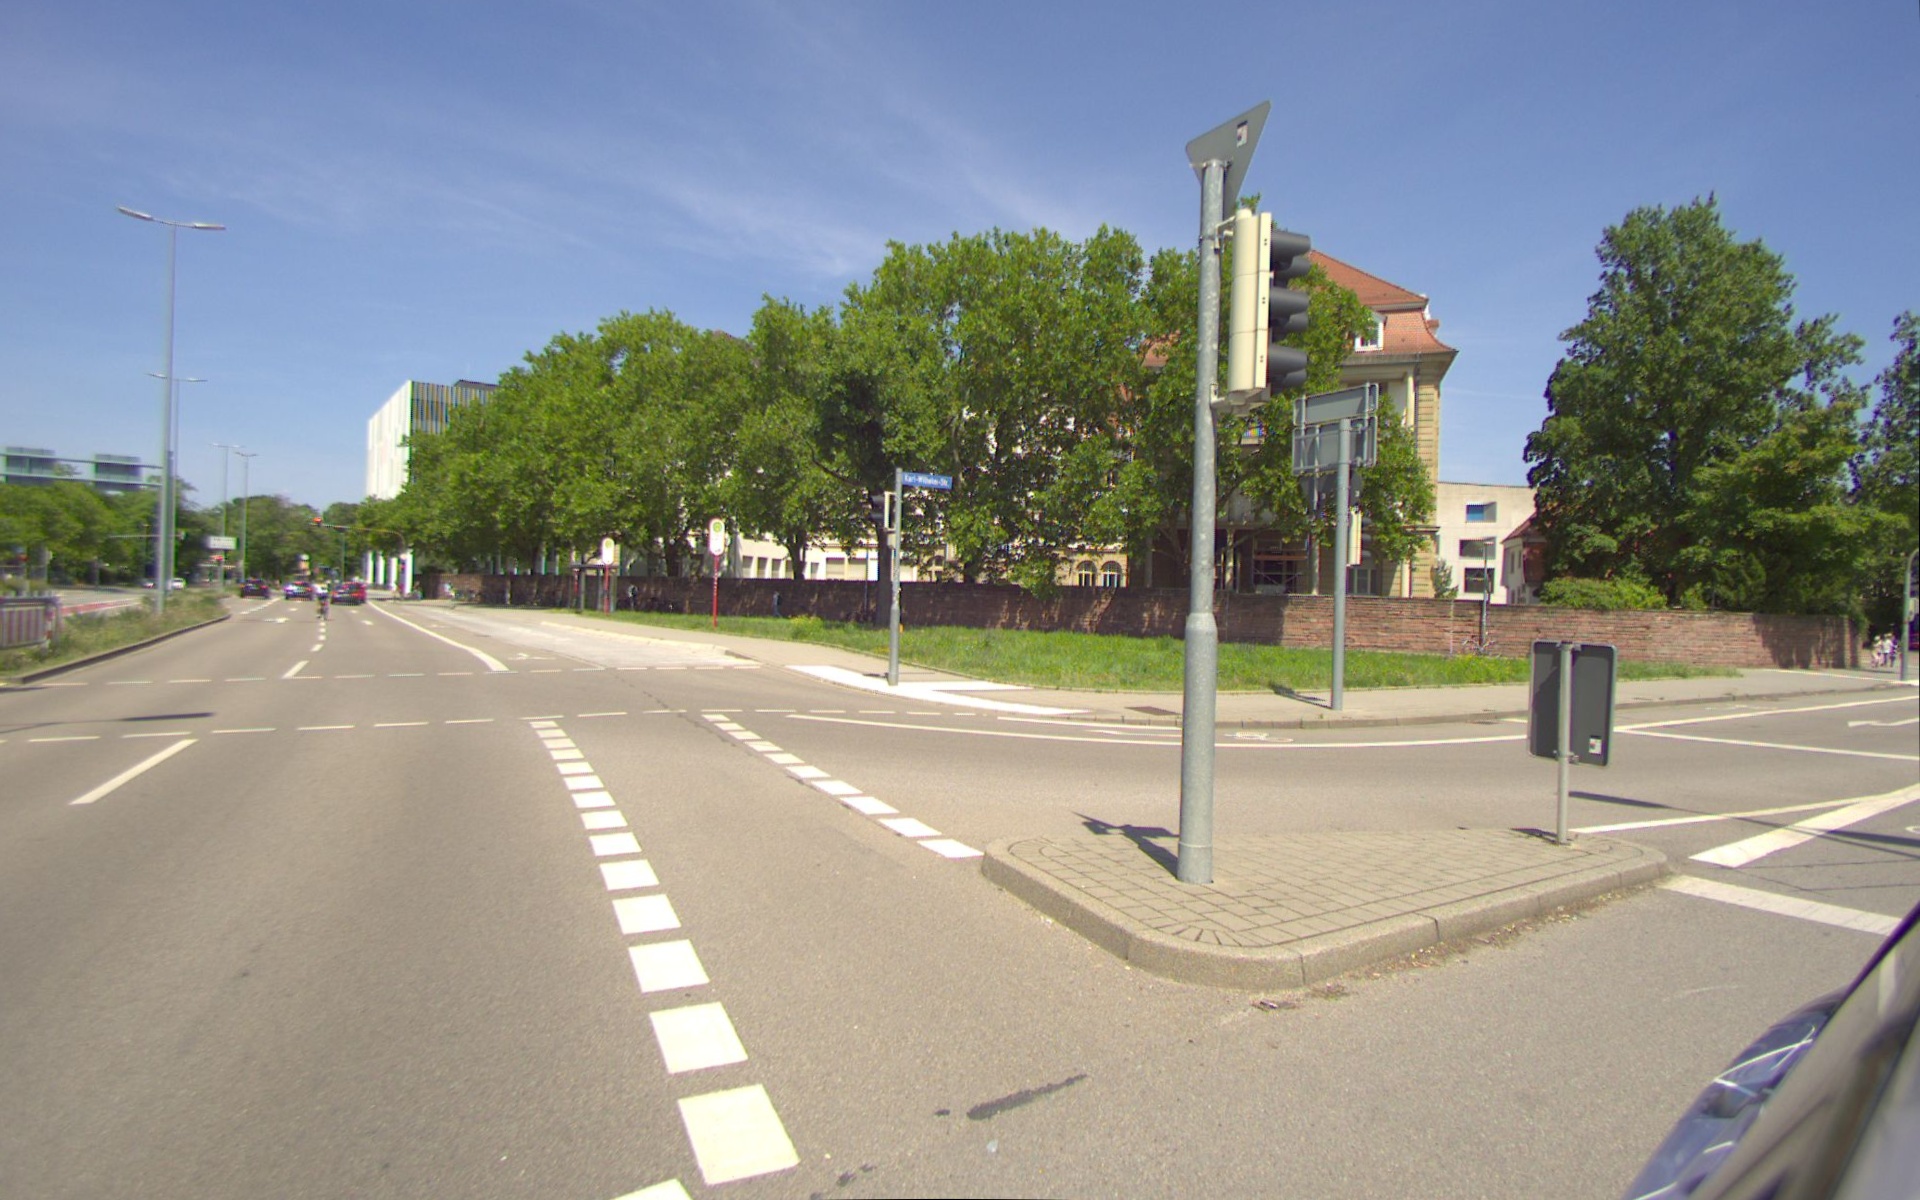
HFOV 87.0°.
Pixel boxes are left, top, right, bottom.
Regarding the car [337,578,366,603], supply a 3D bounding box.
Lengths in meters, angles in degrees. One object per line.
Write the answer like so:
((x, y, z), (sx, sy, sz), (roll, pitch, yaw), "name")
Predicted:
((-46.212, -0.702, 76.869), (1.747, 1.706, 4.001), (1, -2, -32), "car")

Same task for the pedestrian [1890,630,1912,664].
((47.312, 2.367, 50.894), (0.598, 1.631, 0.554), (4, 0, 22), "pedestrian")

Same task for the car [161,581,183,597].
((-88.997, -1.216, 114.277), (1.703, 1.708, 3.914), (2, -2, -35), "car")

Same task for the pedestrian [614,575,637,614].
((-20.298, -0.328, 61.444), (1.069, 2.320, 0.837), (-1, -3, 39), "pedestrian")

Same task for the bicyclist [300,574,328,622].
((-25.899, -0.072, 40.597), (0.697, 1.911, 1.135), (2, -3, -44), "bicyclist")

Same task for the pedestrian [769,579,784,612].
((-9.885, -0.251, 54.397), (0.522, 1.743, 0.583), (-1, -2, 30), "pedestrian")

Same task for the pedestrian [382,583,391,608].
((-46.818, -0.370, 82.605), (0.539, 2.040, 0.536), (2, -2, -35), "pedestrian")

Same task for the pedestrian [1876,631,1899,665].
((45.261, 2.336, 49.375), (0.598, 1.631, 0.554), (4, 0, 22), "pedestrian")

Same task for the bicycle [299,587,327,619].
((-25.999, 0.147, 40.668), (0.512, 1.253, 2.186), (2, -2, -43), "bicycle")

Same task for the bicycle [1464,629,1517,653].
((21.556, 1.664, 41.142), (1.746, 0.940, 0.677), (0, -2, 9), "bicycle")

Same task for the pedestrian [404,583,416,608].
((-45.642, -0.328, 84.019), (0.774, 2.040, 0.840), (2, -2, -35), "pedestrian")

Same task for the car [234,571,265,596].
((-52.830, -1.231, 75.193), (1.745, 1.690, 3.997), (2, -2, -36), "car")

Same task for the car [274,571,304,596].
((-50.860, -1.229, 76.746), (1.747, 1.706, 4.001), (1, -2, -32), "car")

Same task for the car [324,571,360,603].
((-43.607, -0.882, 71.373), (1.961, 2.040, 4.213), (2, -2, -34), "car")

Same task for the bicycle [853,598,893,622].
((-4.472, 0.520, 51.993), (2.148, 1.197, 0.453), (0, -2, 27), "bicycle")

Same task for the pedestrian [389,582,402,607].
((-46.558, -0.422, 83.502), (0.774, 2.040, 0.963), (2, -2, -35), "pedestrian")

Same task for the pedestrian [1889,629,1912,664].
((48.500, 2.408, 52.195), (0.598, 1.734, 0.554), (4, 0, 21), "pedestrian")
